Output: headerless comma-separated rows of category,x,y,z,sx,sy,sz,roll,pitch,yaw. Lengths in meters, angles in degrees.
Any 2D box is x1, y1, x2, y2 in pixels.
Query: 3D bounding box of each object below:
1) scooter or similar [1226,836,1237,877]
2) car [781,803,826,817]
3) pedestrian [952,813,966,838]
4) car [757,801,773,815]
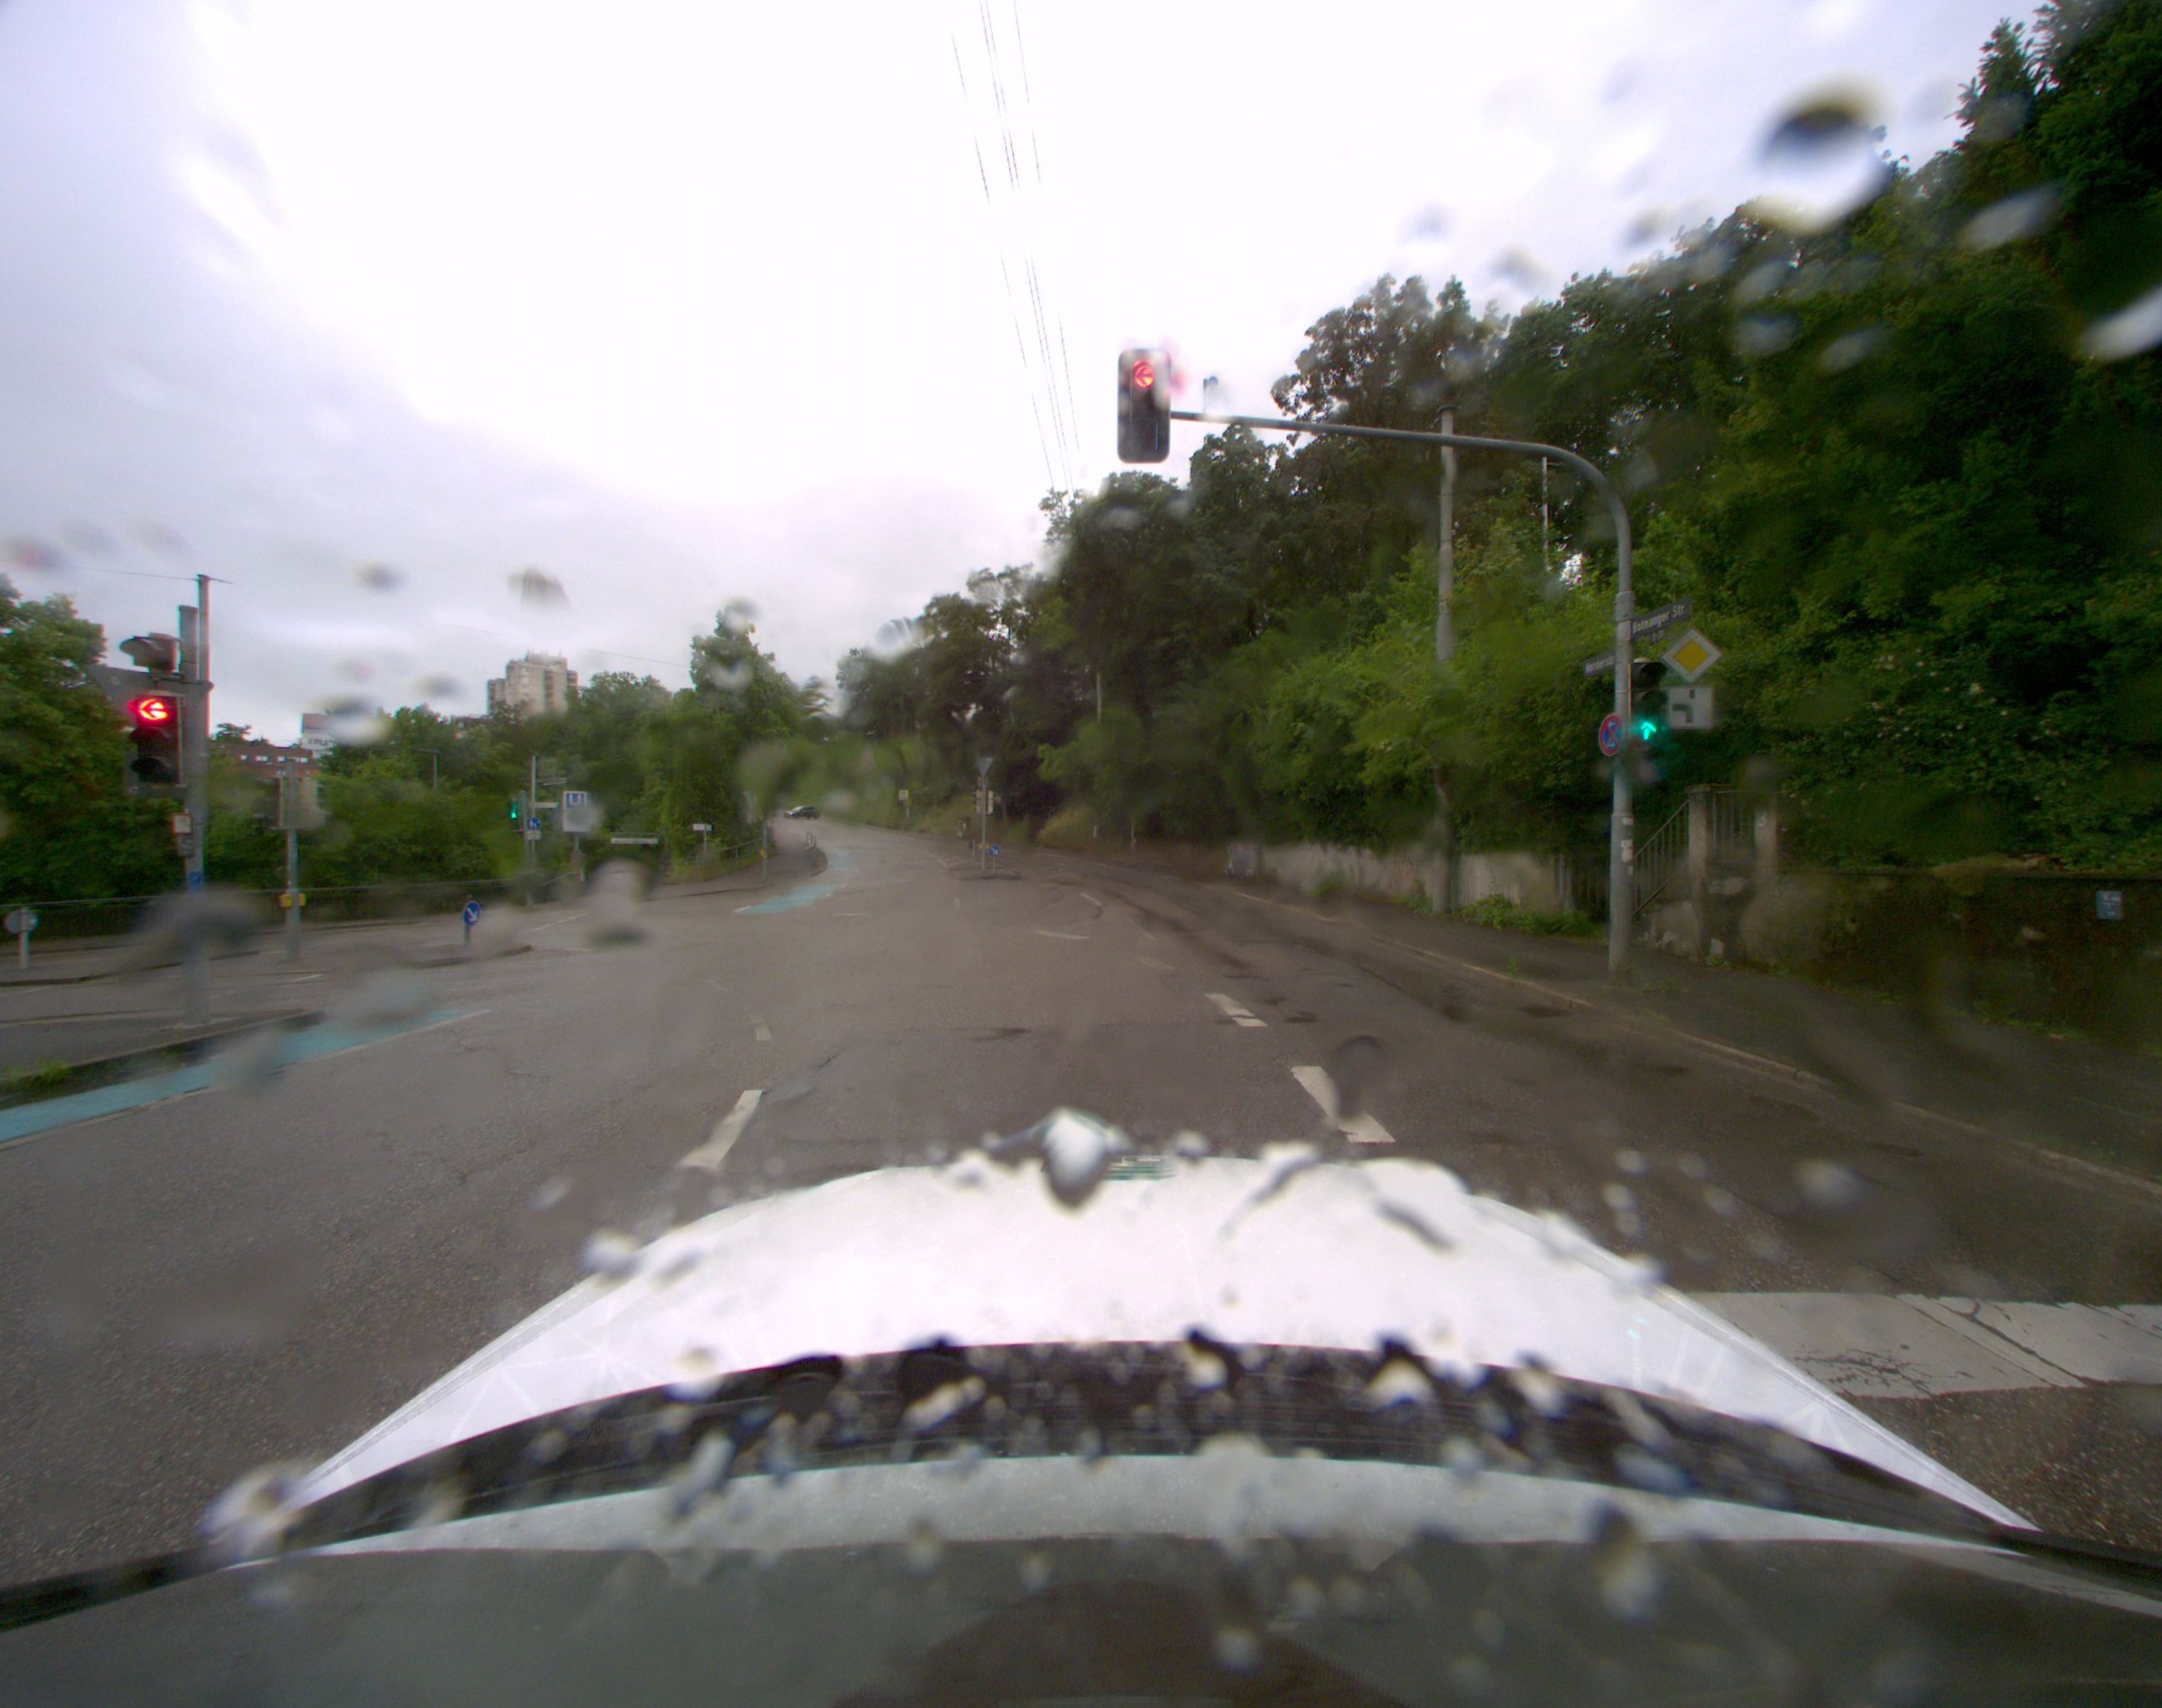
scooter or similar,4.897,0.067,26.520,0.320,1.279,0.754,-1,2,10
car,-31.294,-4.910,91.918,4.430,1.511,1.939,-2,4,-44
pedestrian,-8.485,-1.974,56.484,0.882,1.736,0.861,0,-1,-15
car,-47.764,-6.907,123.238,2.072,2.006,4.784,-1,1,-19
